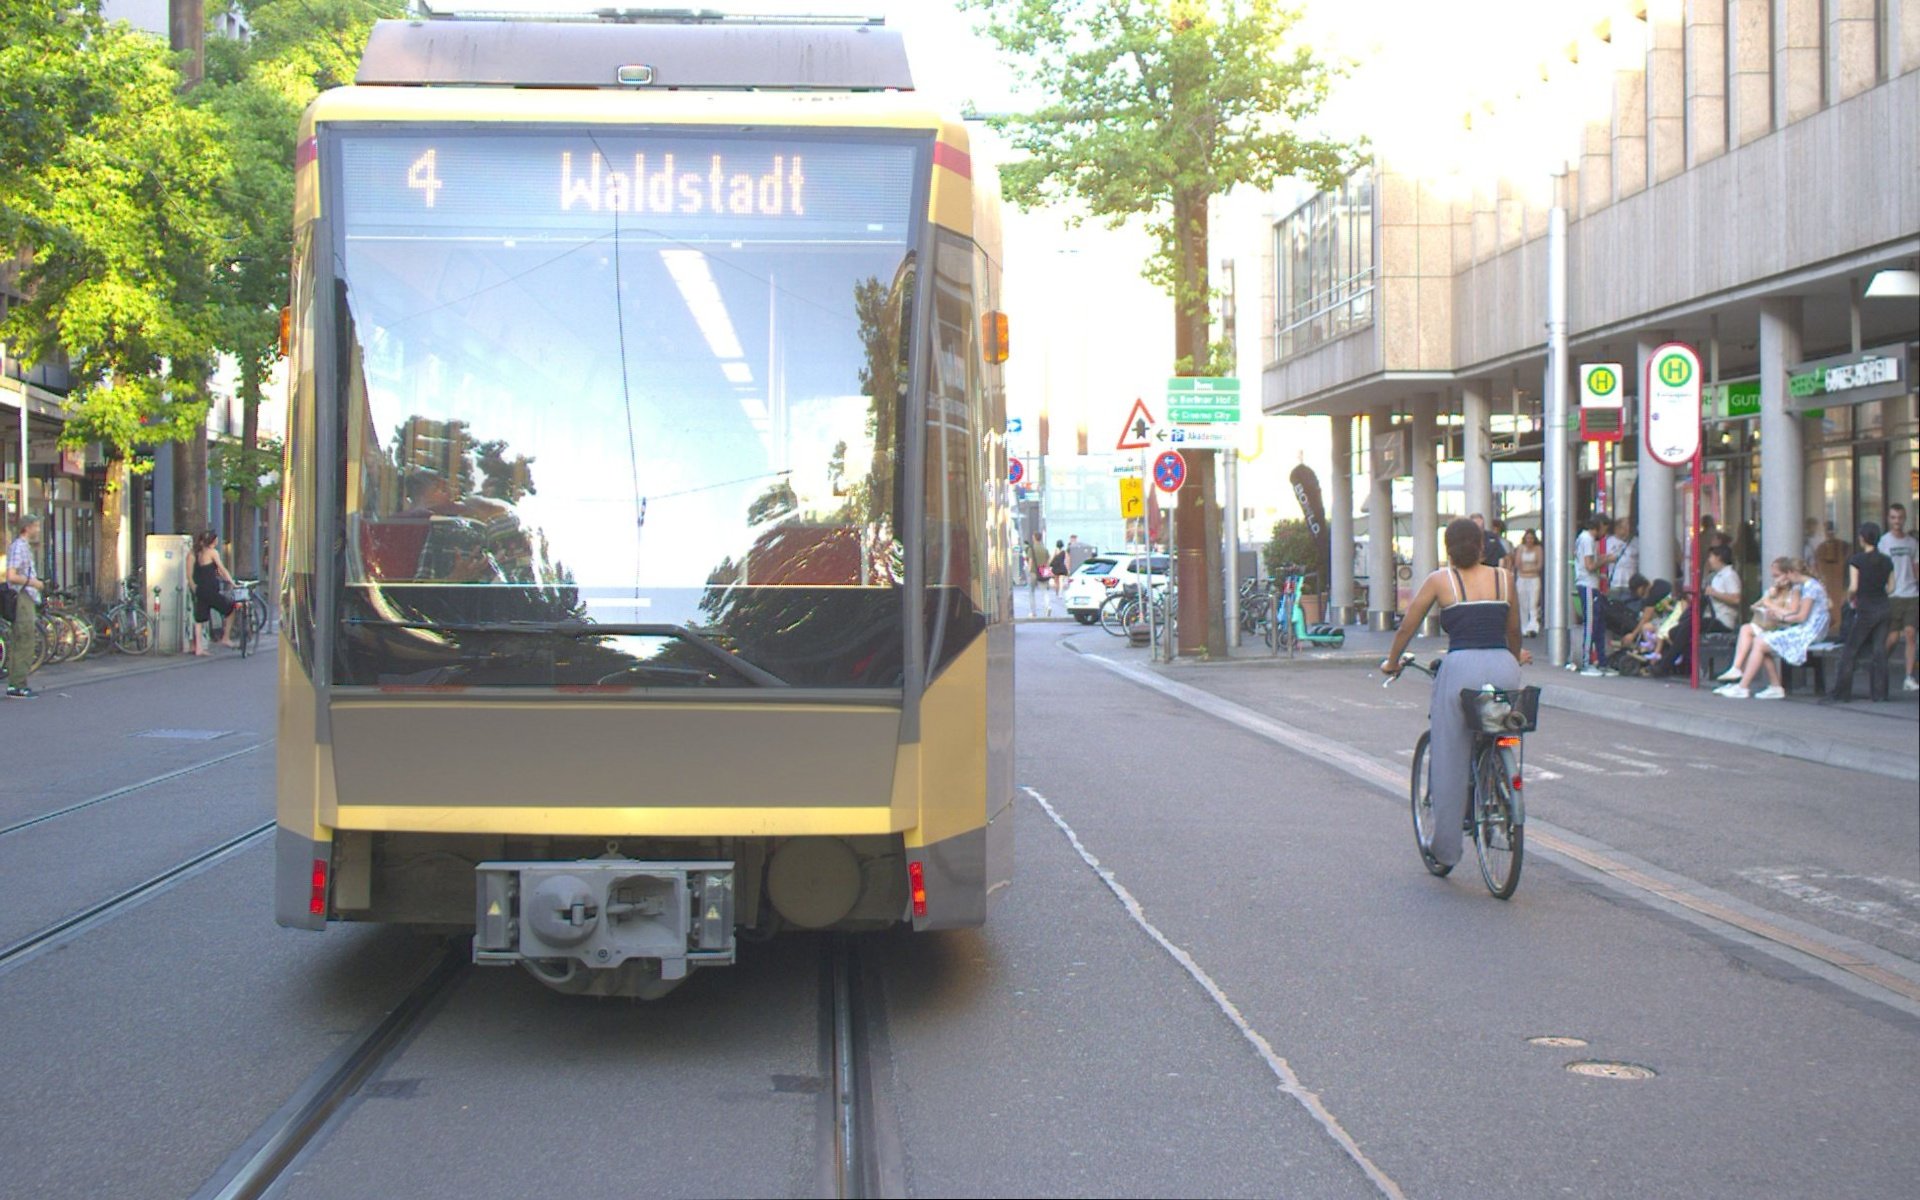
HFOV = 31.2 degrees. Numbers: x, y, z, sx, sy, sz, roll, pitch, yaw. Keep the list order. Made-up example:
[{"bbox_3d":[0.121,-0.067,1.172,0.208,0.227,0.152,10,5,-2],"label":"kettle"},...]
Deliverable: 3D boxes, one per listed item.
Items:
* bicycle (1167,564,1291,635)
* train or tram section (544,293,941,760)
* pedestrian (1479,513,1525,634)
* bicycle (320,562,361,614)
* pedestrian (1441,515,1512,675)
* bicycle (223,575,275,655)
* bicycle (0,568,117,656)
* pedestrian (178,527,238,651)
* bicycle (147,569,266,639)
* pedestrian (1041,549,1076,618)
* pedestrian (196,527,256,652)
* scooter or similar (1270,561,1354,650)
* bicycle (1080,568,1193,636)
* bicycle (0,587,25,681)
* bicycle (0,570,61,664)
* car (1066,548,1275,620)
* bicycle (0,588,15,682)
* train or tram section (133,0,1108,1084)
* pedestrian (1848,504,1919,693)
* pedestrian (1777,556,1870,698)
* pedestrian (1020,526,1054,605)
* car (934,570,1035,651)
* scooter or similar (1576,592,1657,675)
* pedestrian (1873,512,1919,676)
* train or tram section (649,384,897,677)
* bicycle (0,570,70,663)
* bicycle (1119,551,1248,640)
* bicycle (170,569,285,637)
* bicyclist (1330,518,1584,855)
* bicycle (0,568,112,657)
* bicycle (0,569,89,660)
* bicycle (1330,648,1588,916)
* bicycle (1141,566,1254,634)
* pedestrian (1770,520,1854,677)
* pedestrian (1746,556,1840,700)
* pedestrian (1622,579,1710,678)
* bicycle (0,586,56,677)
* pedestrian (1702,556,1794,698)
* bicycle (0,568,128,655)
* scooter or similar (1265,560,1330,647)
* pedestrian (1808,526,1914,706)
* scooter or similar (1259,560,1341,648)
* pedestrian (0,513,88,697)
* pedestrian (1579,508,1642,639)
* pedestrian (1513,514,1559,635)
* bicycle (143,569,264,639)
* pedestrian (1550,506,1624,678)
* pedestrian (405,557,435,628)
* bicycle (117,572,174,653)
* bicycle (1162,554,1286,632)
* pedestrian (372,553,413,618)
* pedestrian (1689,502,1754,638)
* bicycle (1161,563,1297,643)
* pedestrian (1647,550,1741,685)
[{"bbox_3d":[4.454,-0.015,56.997,1.914,1.074,0.763,-2,1,-6],"label":"bicycle"},{"bbox_3d":[-1.828,-0.658,31.665,2.800,3.308,14.510,0,1,-2],"label":"train or tram section"},{"bbox_3d":[8.143,-0.397,51.645,0.539,1.800,0.604,-1,1,-3],"label":"pedestrian"},{"bbox_3d":[-13.924,-0.269,77.309,0.498,1.104,1.800,0,2,3],"label":"bicycle"},{"bbox_3d":[6.034,-0.062,40.152,0.668,1.833,0.708,-1,0,-2],"label":"pedestrian"},{"bbox_3d":[-9.755,0.194,47.191,0.488,1.041,1.778,1,1,-5],"label":"bicycle"},{"bbox_3d":[-11.714,0.146,43.904,1.771,1.067,0.489,2,1,-7],"label":"bicycle"},{"bbox_3d":[-10.389,-0.156,47.512,0.602,1.693,0.535,1,1,27],"label":"pedestrian"},{"bbox_3d":[-11.940,0.064,54.498,1.772,1.041,0.489,1,1,-2],"label":"bicycle"},{"bbox_3d":[2.623,-0.439,91.501,0.733,1.817,0.820,0,1,-16],"label":"pedestrian"},{"bbox_3d":[-10.044,-0.149,47.048,0.602,1.693,0.535,1,1,27],"label":"pedestrian"},{"bbox_3d":[5.090,0.072,49.655,1.112,1.247,0.497,-2,2,-32],"label":"scooter or similar"},{"bbox_3d":[3.031,0.031,59.147,1.852,1.105,0.667,-2,1,-4],"label":"bicycle"},{"bbox_3d":[-11.065,0.350,37.196,1.771,0.986,0.489,1,2,-7],"label":"bicycle"},{"bbox_3d":[-11.503,0.182,40.324,1.771,1.067,0.489,2,1,-7],"label":"bicycle"},{"bbox_3d":[4.280,-0.309,69.773,3.888,1.404,1.775,0,0,-31],"label":"car"},{"bbox_3d":[-11.039,0.355,36.668,1.771,0.986,0.489,1,2,-7],"label":"bicycle"},{"bbox_3d":[-1.259,-0.394,17.191,2.800,3.308,14.510,0,1,-2],"label":"train or tram section"},{"bbox_3d":[9.098,-0.023,33.071,0.844,1.791,0.859,-1,0,-1],"label":"pedestrian"},{"bbox_3d":[8.099,0.251,32.264,0.718,1.310,0.532,1,0,0],"label":"pedestrian"},{"bbox_3d":[1.685,-0.752,75.481,0.718,1.719,0.709,0,0,-1],"label":"pedestrian"},{"bbox_3d":[0.416,0.184,62.051,1.769,1.404,4.052,0,0,0],"label":"car"},{"bbox_3d":[7.213,0.361,37.740,0.834,0.881,0.686,1,0,13],"label":"scooter or similar"},{"bbox_3d":[10.129,-0.066,36.659,0.570,1.725,0.617,-1,1,-3],"label":"pedestrian"},{"bbox_3d":[-2.405,-0.925,46.176,2.800,3.308,14.510,0,1,-2],"label":"train or tram section"},{"bbox_3d":[-11.542,0.176,40.901,1.771,1.067,0.489,2,1,-7],"label":"bicycle"},{"bbox_3d":[3.569,-0.077,54.981,1.914,1.328,0.726,-2,1,-6],"label":"bicycle"},{"bbox_3d":[-11.957,0.048,56.140,1.772,1.041,0.489,1,1,-2],"label":"bicycle"},{"bbox_3d":[2.284,0.382,15.910,0.997,1.497,0.857,1,1,-1],"label":"bicyclist"},{"bbox_3d":[-11.641,0.152,43.360,1.771,1.067,0.489,2,1,-7],"label":"bicycle"},{"bbox_3d":[-11.634,0.164,42.140,1.771,1.067,0.489,2,1,-7],"label":"bicycle"},{"bbox_3d":[2.274,0.803,15.932,0.815,1.069,2.113,1,1,-1],"label":"bicycle"},{"bbox_3d":[4.095,-0.003,59.417,1.852,1.105,0.667,-2,1,-4],"label":"bicycle"},{"bbox_3d":[9.130,-0.017,36.865,0.687,1.655,0.722,-1,0,0],"label":"pedestrian"},{"bbox_3d":[7.652,0.253,31.597,0.718,1.310,0.524,1,0,0],"label":"pedestrian"},{"bbox_3d":[7.461,0.297,36.348,0.813,1.039,0.544,1,0,0],"label":"pedestrian"},{"bbox_3d":[-11.105,0.336,38.608,1.771,0.986,0.489,1,2,-7],"label":"bicycle"},{"bbox_3d":[7.362,0.245,32.134,0.718,1.310,0.532,1,0,0],"label":"pedestrian"},{"bbox_3d":[-11.726,0.140,44.557,1.771,1.067,0.489,2,1,-7],"label":"bicycle"},{"bbox_3d":[5.008,0.040,51.005,0.393,1.247,1.189,0,2,37],"label":"scooter or similar"},{"bbox_3d":[7.972,0.136,30.437,0.724,1.565,0.736,-1,0,0],"label":"pedestrian"},{"bbox_3d":[4.992,0.049,50.453,1.187,1.247,0.393,-2,2,-31],"label":"scooter or similar"},{"bbox_3d":[-9.275,0.042,34.087,0.820,1.786,0.990,0,0,-45],"label":"pedestrian"},{"bbox_3d":[8.352,-0.338,44.133,0.648,1.655,0.650,-1,1,-1],"label":"pedestrian"},{"bbox_3d":[8.667,-0.392,51.745,0.539,1.800,0.604,-1,1,-3],"label":"pedestrian"},{"bbox_3d":[-11.935,0.066,54.256,1.772,1.041,0.489,1,1,-2],"label":"bicycle"},{"bbox_3d":[6.768,-0.092,37.119,0.639,1.833,0.668,-1,0,-1],"label":"pedestrian"},{"bbox_3d":[-11.376,-0.162,72.389,0.603,1.489,0.555,0,0,-10],"label":"pedestrian"},{"bbox_3d":[-11.118,0.160,46.967,0.488,1.041,1.778,1,1,-5],"label":"bicycle"},{"bbox_3d":[4.431,-0.121,57.742,1.914,1.218,0.763,-2,1,-6],"label":"bicycle"},{"bbox_3d":[-12.545,-0.326,76.029,0.555,1.429,0.684,0,0,36],"label":"pedestrian"},{"bbox_3d":[10.150,-0.398,45.842,0.663,1.781,0.719,-1,0,-1],"label":"pedestrian"},{"bbox_3d":[4.230,0.043,54.122,1.995,1.151,0.726,-2,1,-6],"label":"bicycle"},{"bbox_3d":[7.596,0.180,35.586,0.813,1.376,0.662,1,0,0],"label":"pedestrian"}]
